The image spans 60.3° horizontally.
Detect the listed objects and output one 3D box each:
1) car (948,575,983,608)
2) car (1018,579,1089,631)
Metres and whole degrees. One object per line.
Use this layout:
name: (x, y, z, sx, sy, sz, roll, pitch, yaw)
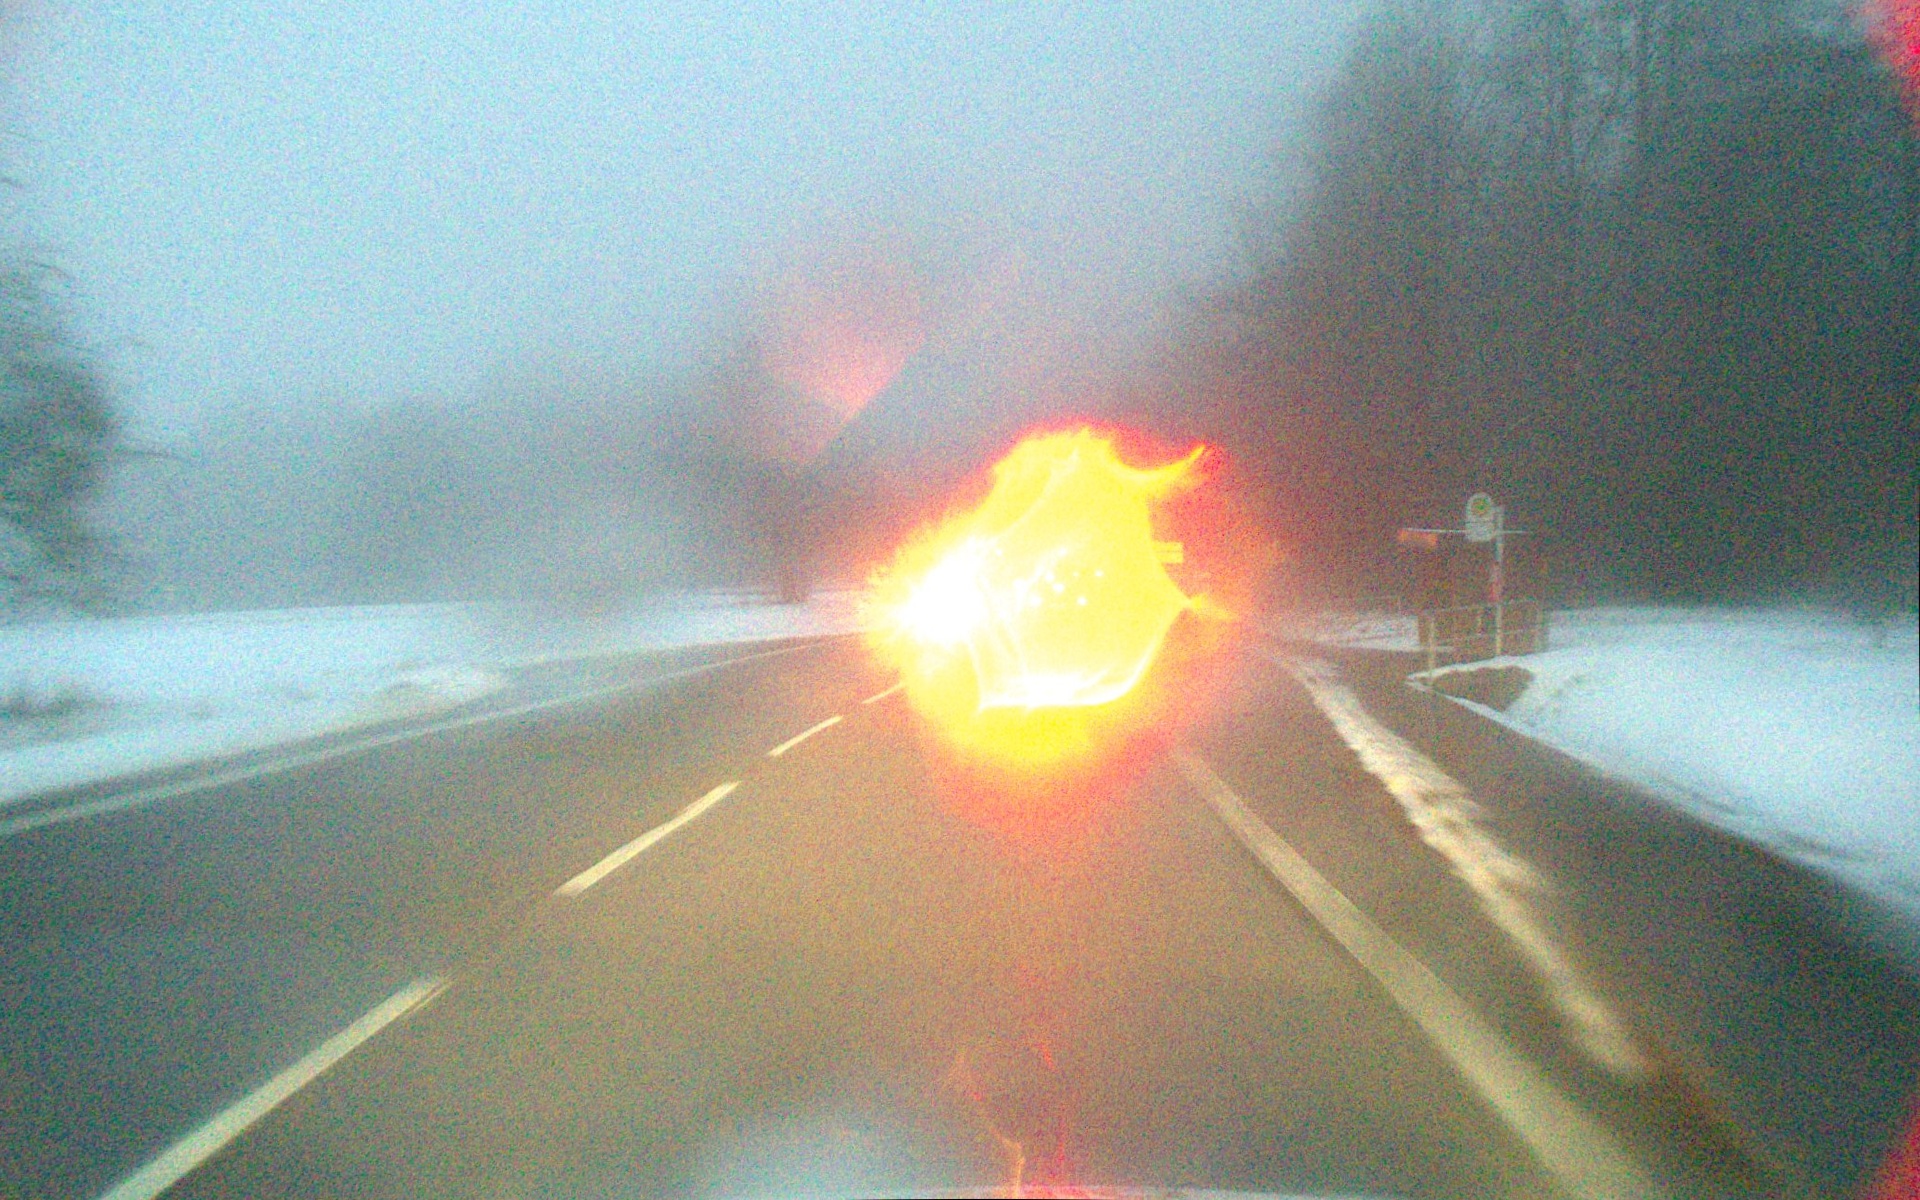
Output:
car: (0.289, -0.491, 90.916, 1.717, 1.723, 4.424, -1, 1, -2)
car: (2.543, 0.104, 45.631, 1.882, 1.299, 4.002, 0, 2, 2)
